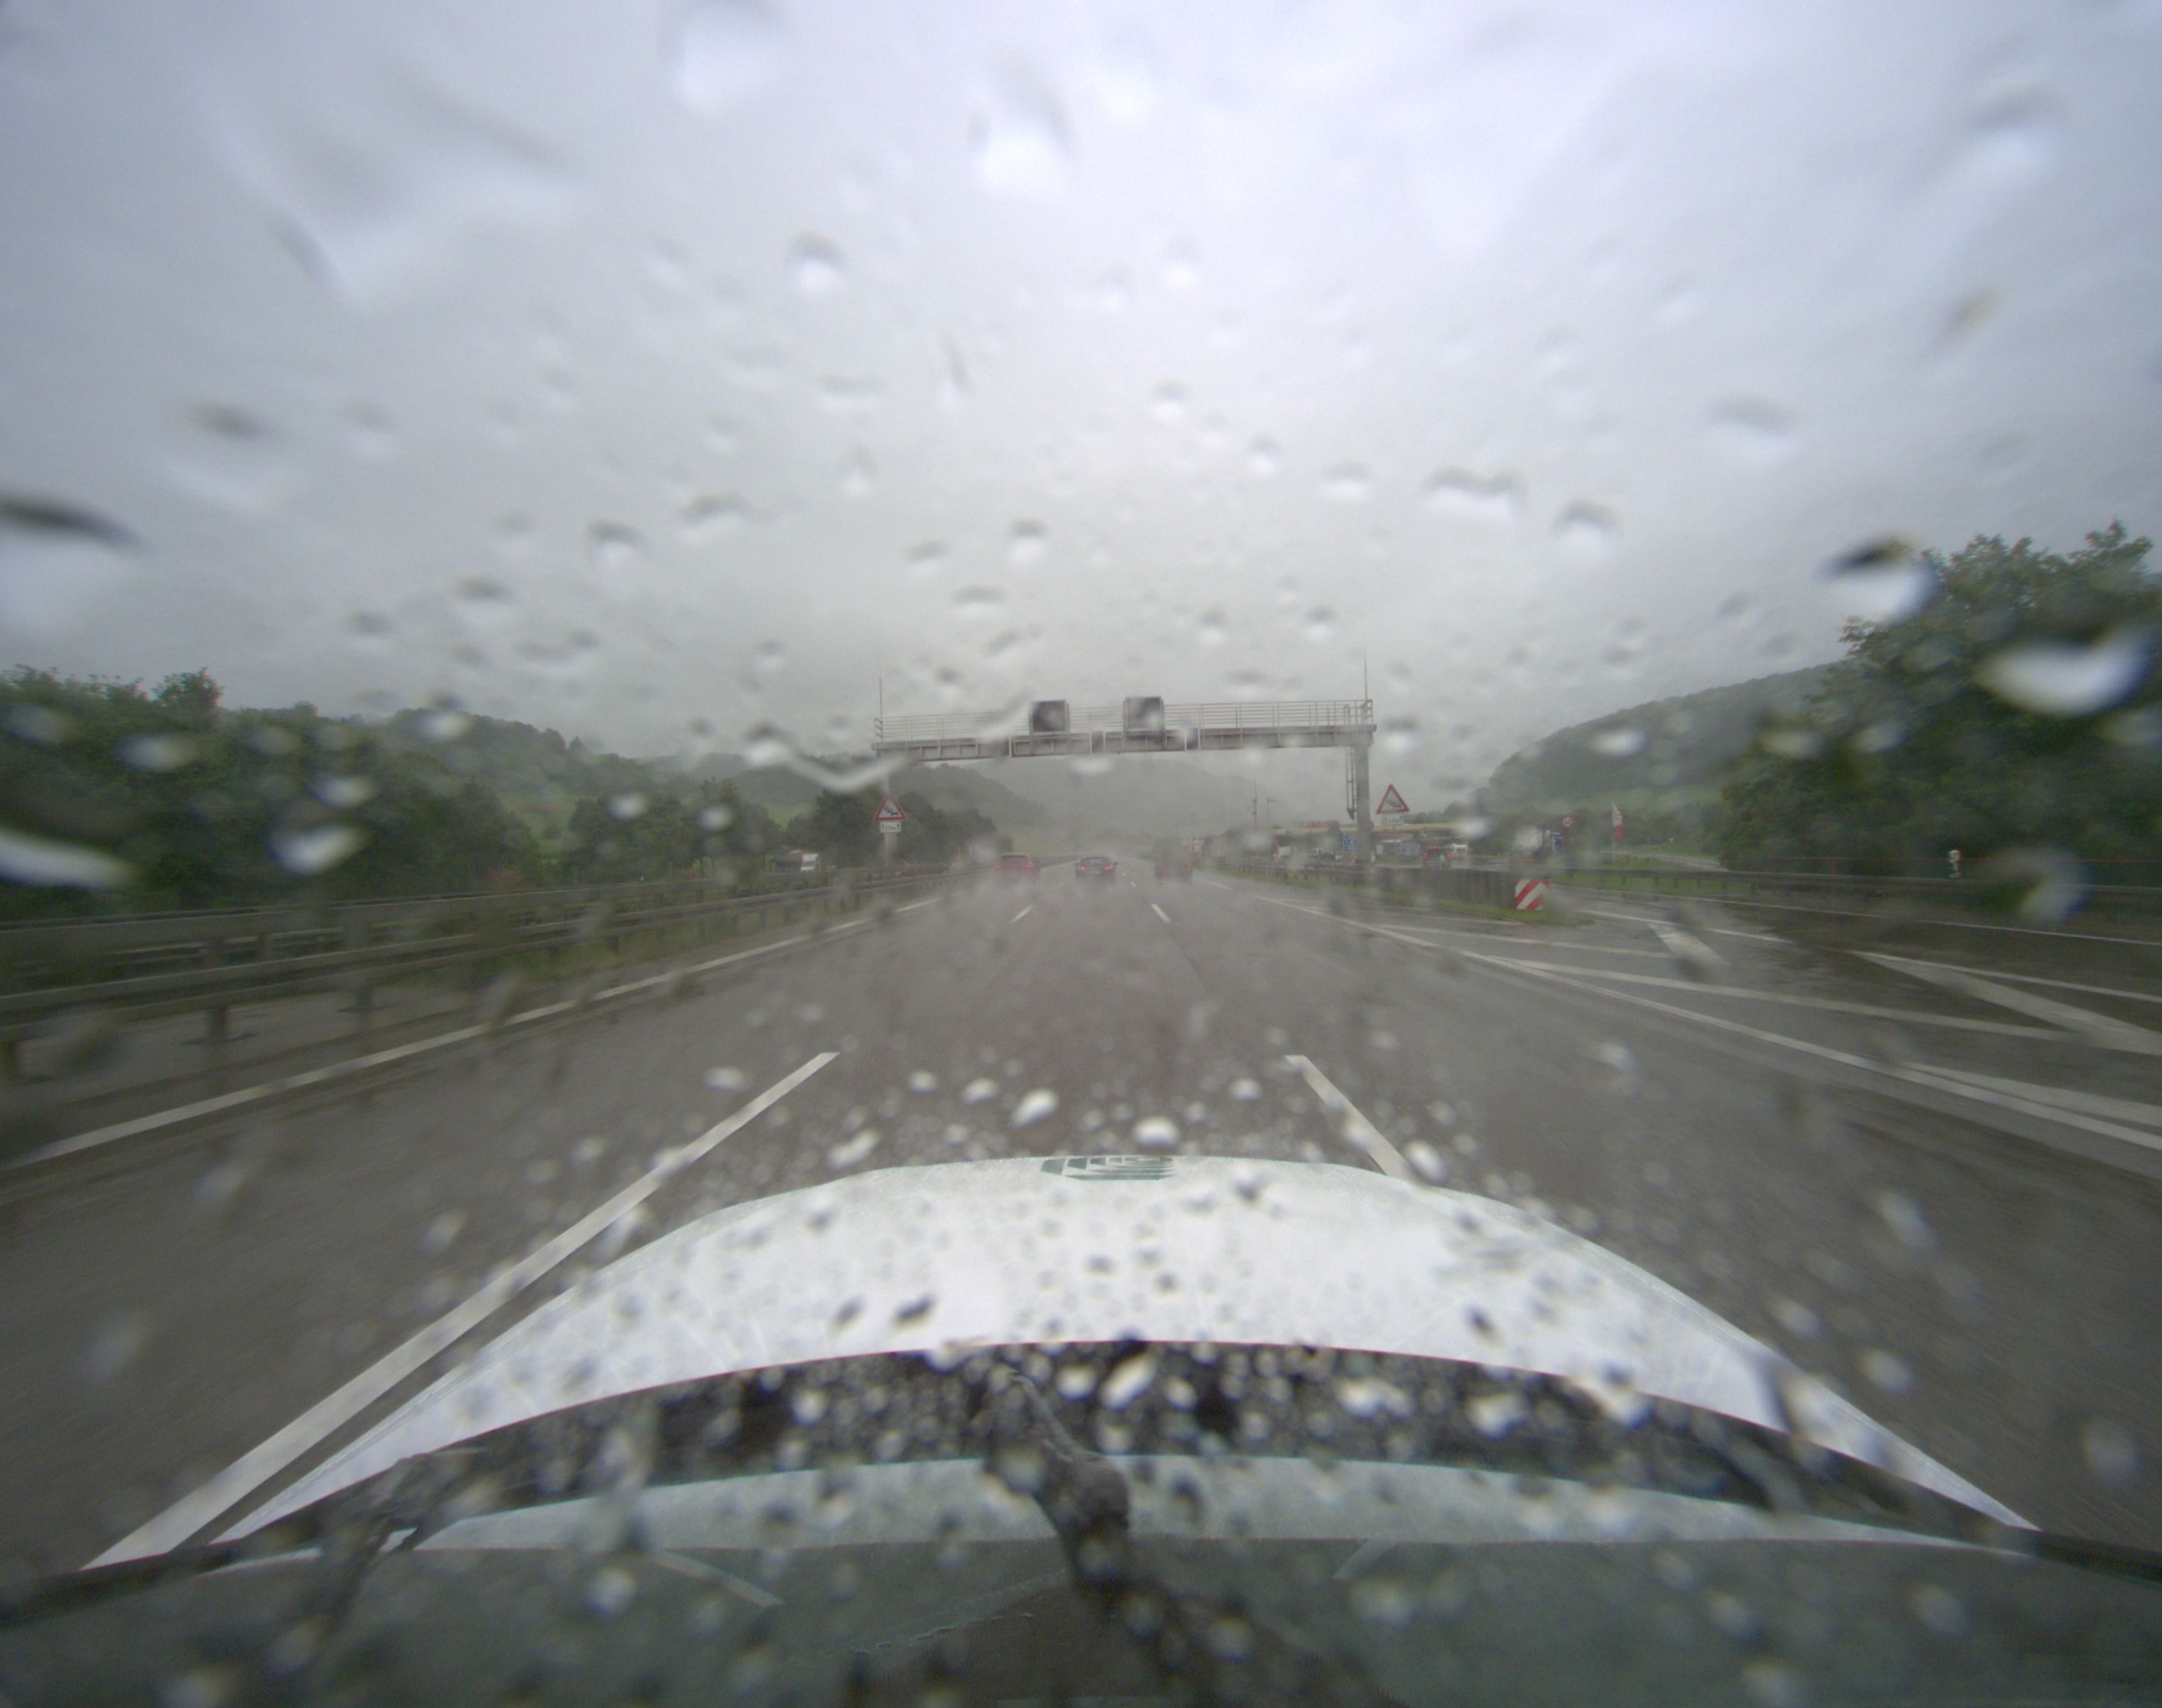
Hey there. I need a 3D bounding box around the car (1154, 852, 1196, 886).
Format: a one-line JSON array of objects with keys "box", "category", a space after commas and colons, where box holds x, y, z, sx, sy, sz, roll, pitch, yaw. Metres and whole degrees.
[{"box": [5.088, 0.764, 44.604, 1.964, 1.760, 4.002, -1, 0, 2], "category": "car"}]

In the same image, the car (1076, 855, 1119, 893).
[{"box": [0.807, 0.867, 36.976, 1.852, 1.589, 4.002, 0, 0, 2], "category": "car"}]

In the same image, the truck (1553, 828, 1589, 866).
[{"box": [52.239, -0.653, 86.694, 2.721, 3.867, 7.582, 0, 0, 35], "category": "truck"}]

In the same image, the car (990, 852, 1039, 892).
[{"box": [-3.116, 0.806, 38.901, 1.878, 1.816, 4.001, -1, 0, 1], "category": "car"}]

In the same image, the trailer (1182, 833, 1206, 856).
[{"box": [21.255, -1.686, 153.622, 3.502, 4.261, 11.929, 0, 0, 3], "category": "trailer"}]

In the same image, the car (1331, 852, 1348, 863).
[{"box": [48.406, 0.703, 152.507, 1.953, 2.014, 4.002, 0, 0, 2], "category": "car"}]

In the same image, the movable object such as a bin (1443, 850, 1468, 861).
[{"box": [67.855, 0.272, 147.730, 2.158, 2.014, 5.384, 0, 0, 1], "category": "movable object such as a bin"}]

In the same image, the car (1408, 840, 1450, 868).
[{"box": [26.391, -0.028, 61.916, 1.980, 2.013, 5.071, -1, 0, 12], "category": "car"}]

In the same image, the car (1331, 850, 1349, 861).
[{"box": [50.858, 0.295, 159.749, 2.073, 2.182, 4.894, 0, 0, 2], "category": "car"}]

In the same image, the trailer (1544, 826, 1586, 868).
[{"box": [48.197, -0.656, 80.904, 2.757, 3.900, 11.825, 0, 0, 35], "category": "trailer"}]

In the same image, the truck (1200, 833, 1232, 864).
[{"box": [20.396, -0.814, 123.651, 3.387, 4.402, 11.056, 0, 0, 2], "category": "truck"}]

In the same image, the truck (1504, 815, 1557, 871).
[{"box": [37.703, -0.808, 68.066, 2.842, 4.256, 11.947, 0, 0, 34], "category": "truck"}]
